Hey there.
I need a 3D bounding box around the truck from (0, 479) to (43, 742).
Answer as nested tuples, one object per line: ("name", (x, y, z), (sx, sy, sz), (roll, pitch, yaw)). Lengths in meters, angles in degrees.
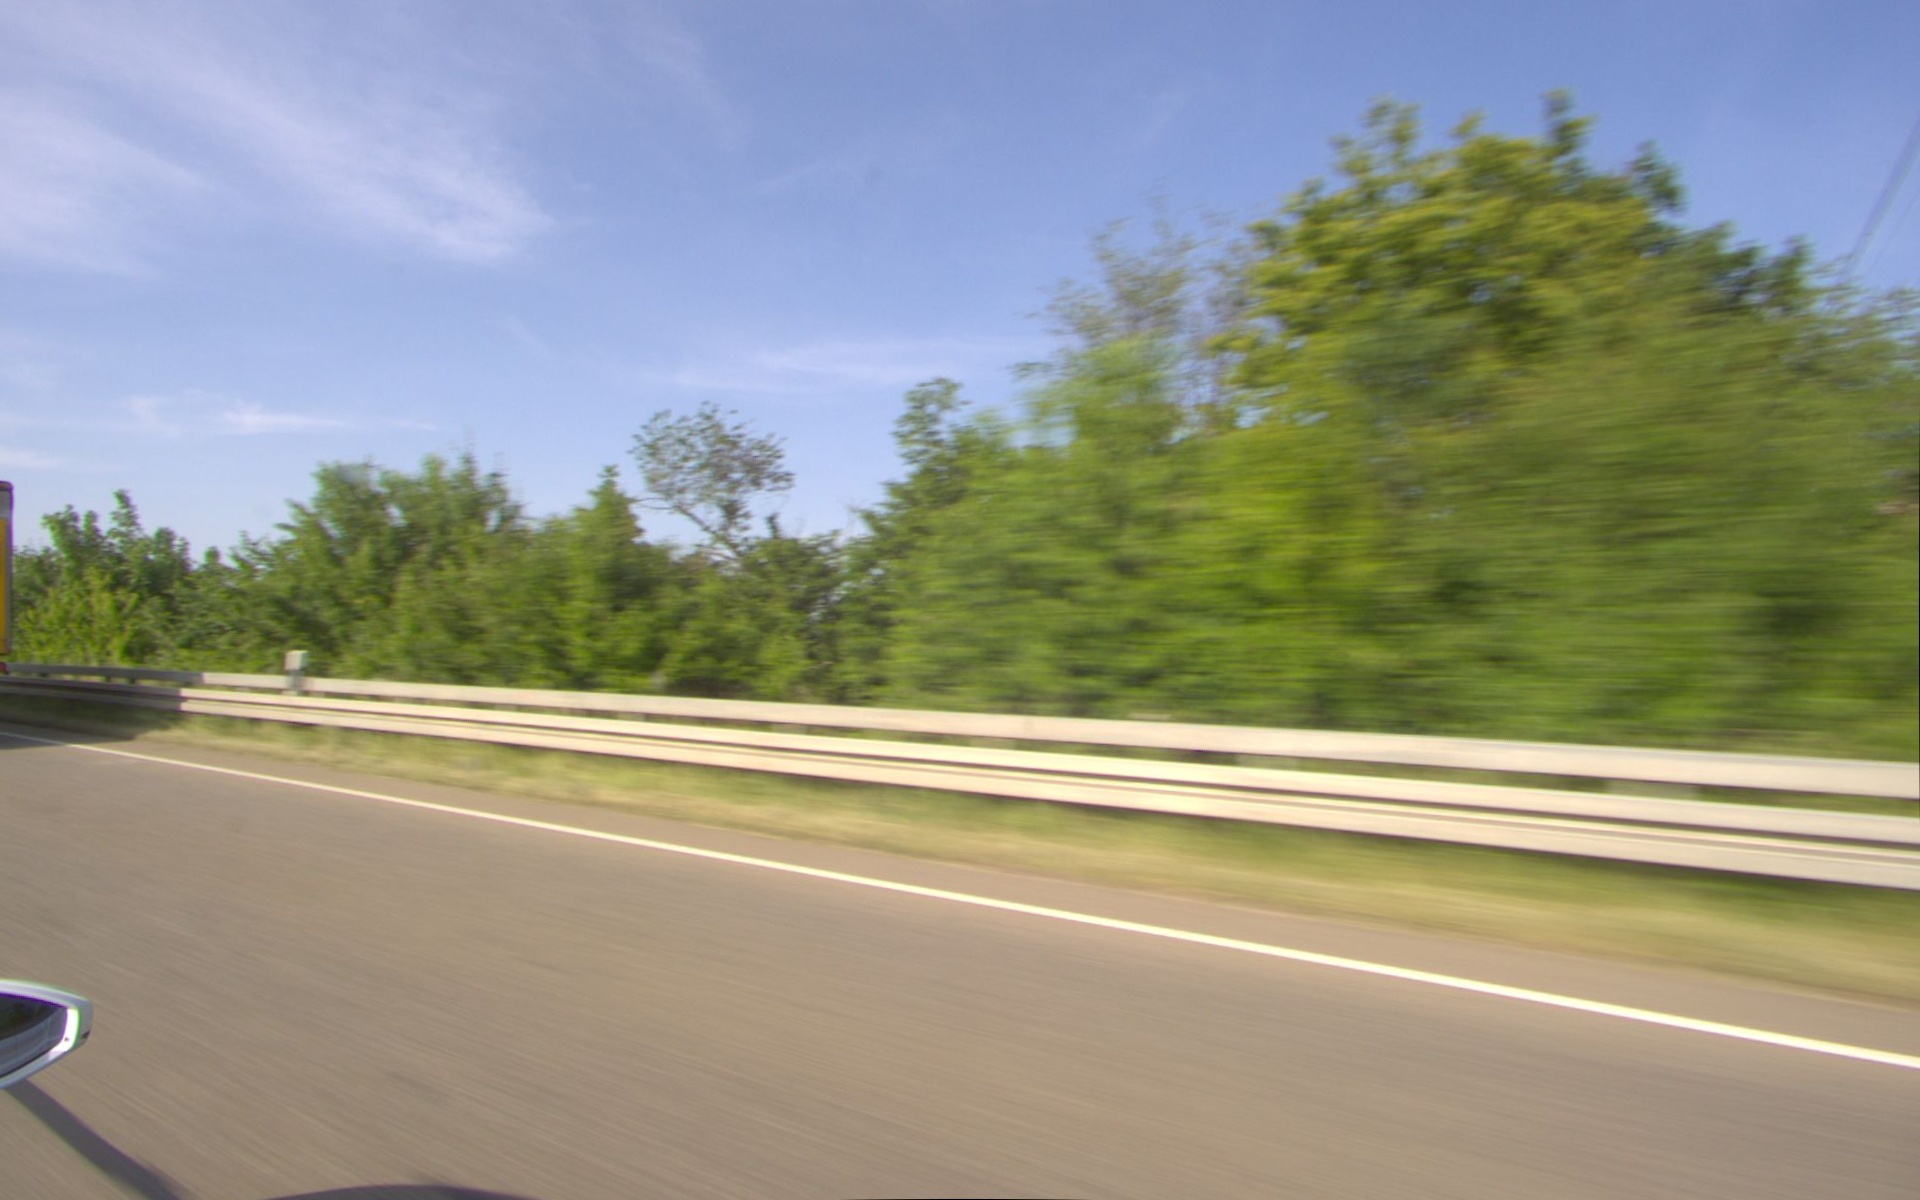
("truck", (-17.137, 0.141, 14.755), (10.340, 3.359, 2.774), (0, -2, 33))
